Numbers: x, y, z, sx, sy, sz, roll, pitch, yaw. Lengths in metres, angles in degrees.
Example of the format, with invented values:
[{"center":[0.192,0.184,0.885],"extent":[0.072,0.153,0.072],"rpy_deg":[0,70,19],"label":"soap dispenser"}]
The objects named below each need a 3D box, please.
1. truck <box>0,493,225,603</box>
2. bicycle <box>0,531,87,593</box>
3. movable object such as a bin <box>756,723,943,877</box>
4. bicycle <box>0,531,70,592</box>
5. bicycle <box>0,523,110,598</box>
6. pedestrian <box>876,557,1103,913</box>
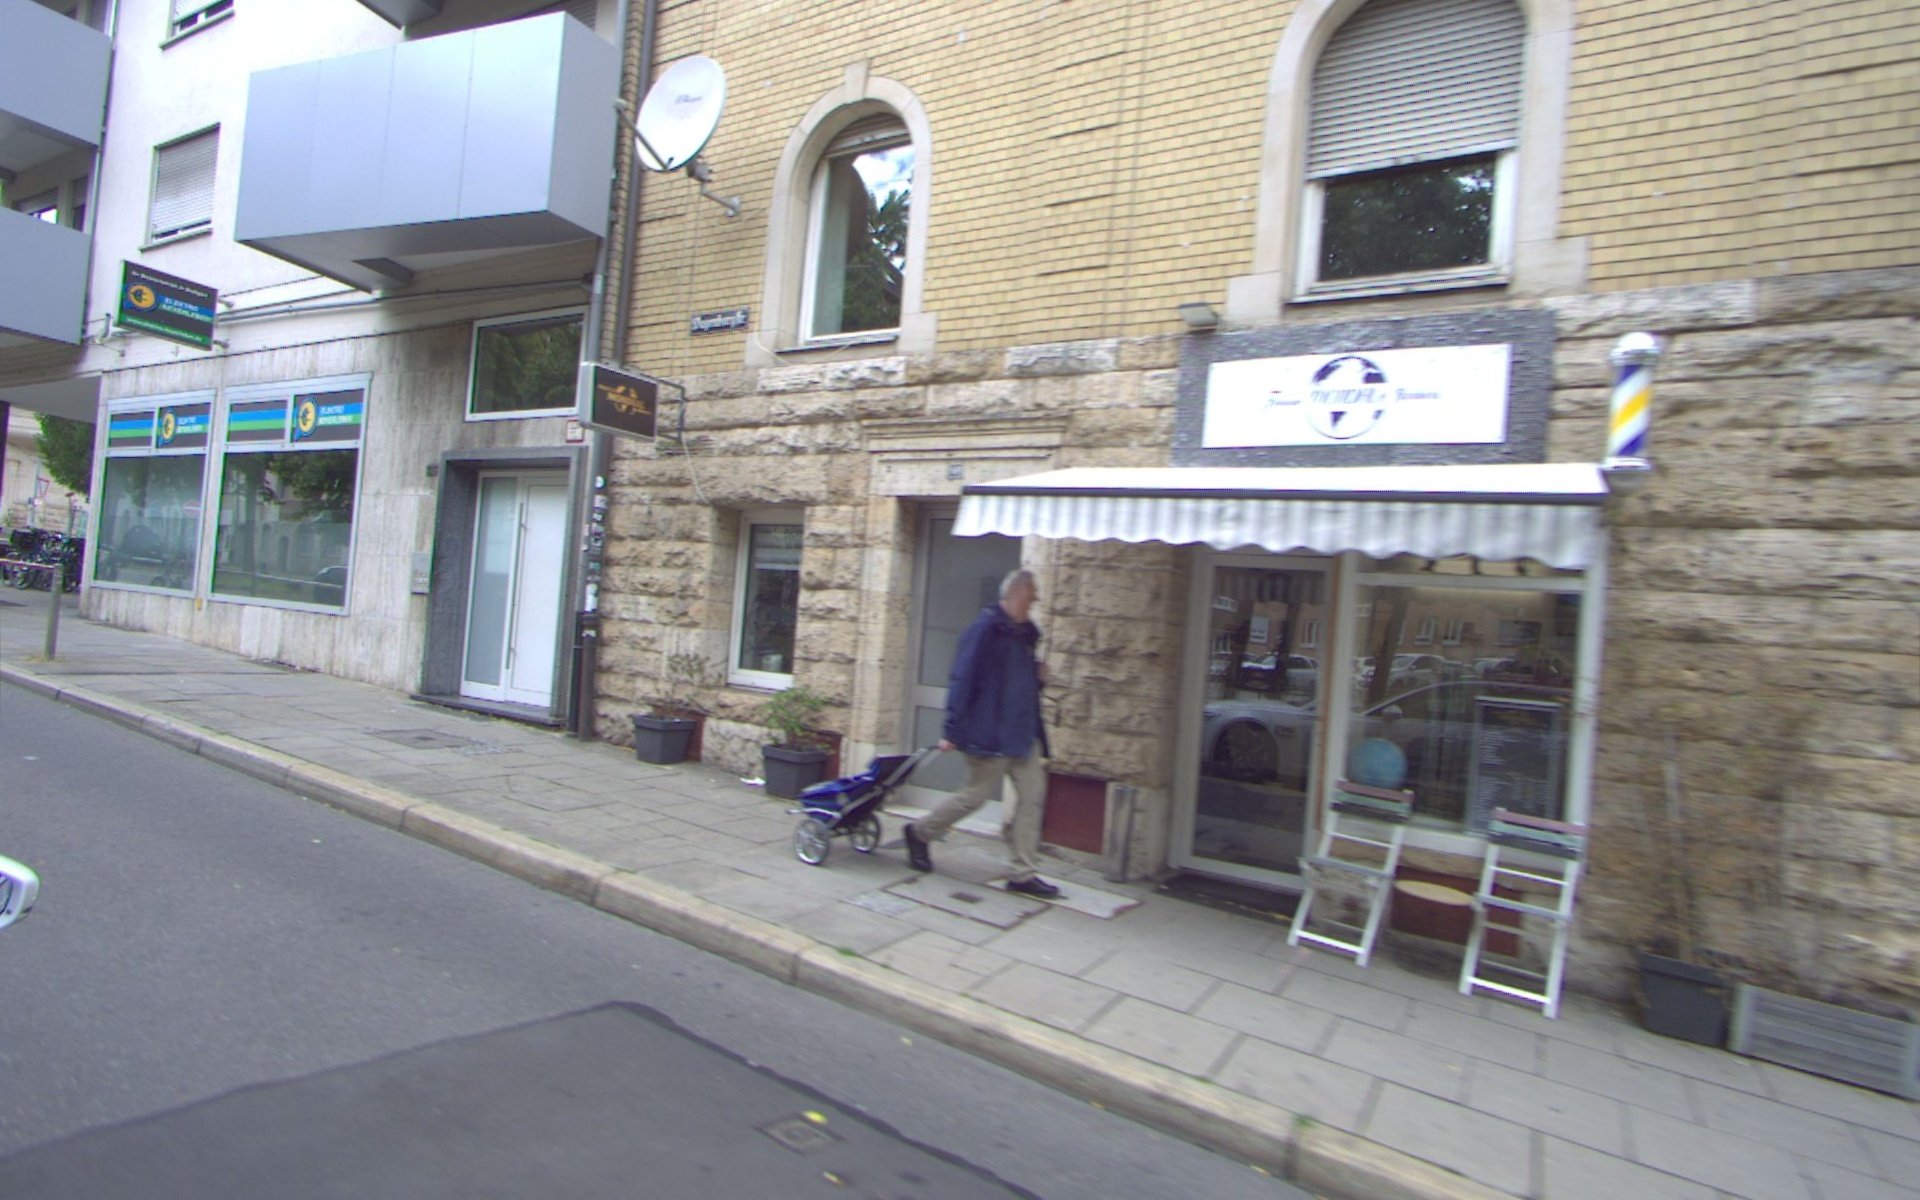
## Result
[{"center":[-23.714,-1.399,27.267],"extent":[2.337,2.156,5.585],"rpy_deg":[6,-4,21],"label":"truck"},{"center":[-18.350,-0.767,20.099],"extent":[1.727,1.055,0.319],"rpy_deg":[6,-1,13],"label":"bicycle"},{"center":[-0.639,1.124,5.849],"extent":[0.844,0.677,0.608],"rpy_deg":[5,1,32],"label":"movable object such as a bin"},{"center":[-18.416,-0.772,19.792],"extent":[1.727,1.055,0.319],"rpy_deg":[6,-1,13],"label":"bicycle"},{"center":[-17.252,-0.740,19.136],"extent":[1.728,1.212,0.319],"rpy_deg":[6,-1,-1],"label":"bicycle"},{"center":[0.169,0.673,5.478],"extent":[0.844,1.714,0.751],"rpy_deg":[5,1,32],"label":"pedestrian"}]
